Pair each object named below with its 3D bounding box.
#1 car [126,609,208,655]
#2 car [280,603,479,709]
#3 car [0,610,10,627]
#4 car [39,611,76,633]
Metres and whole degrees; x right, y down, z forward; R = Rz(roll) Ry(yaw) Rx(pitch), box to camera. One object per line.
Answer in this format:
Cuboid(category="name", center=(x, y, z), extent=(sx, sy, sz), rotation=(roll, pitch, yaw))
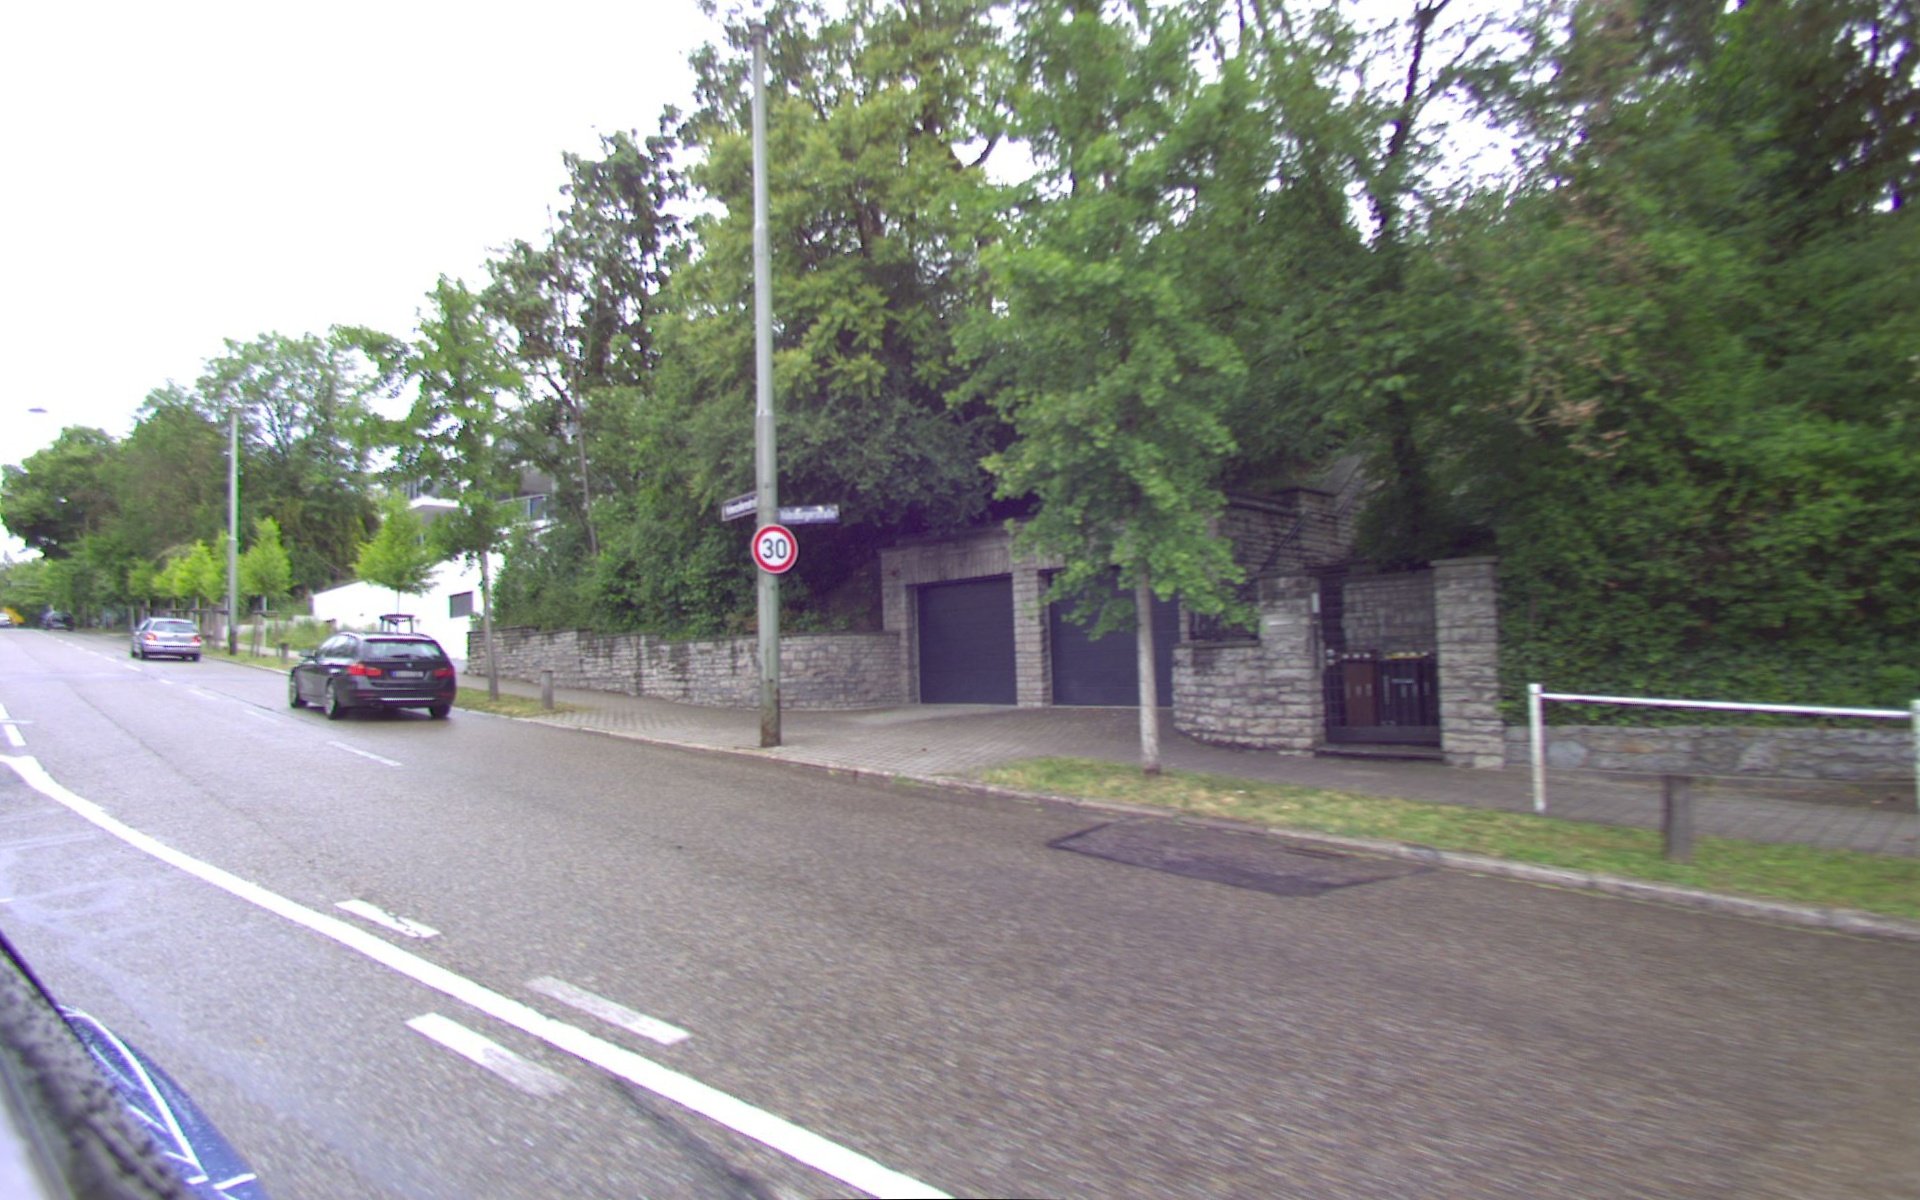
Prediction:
Cuboid(category="car", center=(-27.460, 1.091, 35.001), extent=(1.745, 1.497, 3.803), rotation=(4, -3, -45))
Cuboid(category="car", center=(-10.207, 0.900, 17.638), extent=(1.889, 1.597, 4.590), rotation=(4, -3, -44))
Cuboid(category="car", center=(-89.084, 1.660, 93.553), extent=(1.741, 1.497, 4.003), rotation=(1, 0, -44))
Cuboid(category="car", center=(-67.943, 1.630, 76.171), extent=(3.919, 1.561, 1.725), rotation=(0, -3, 44))
